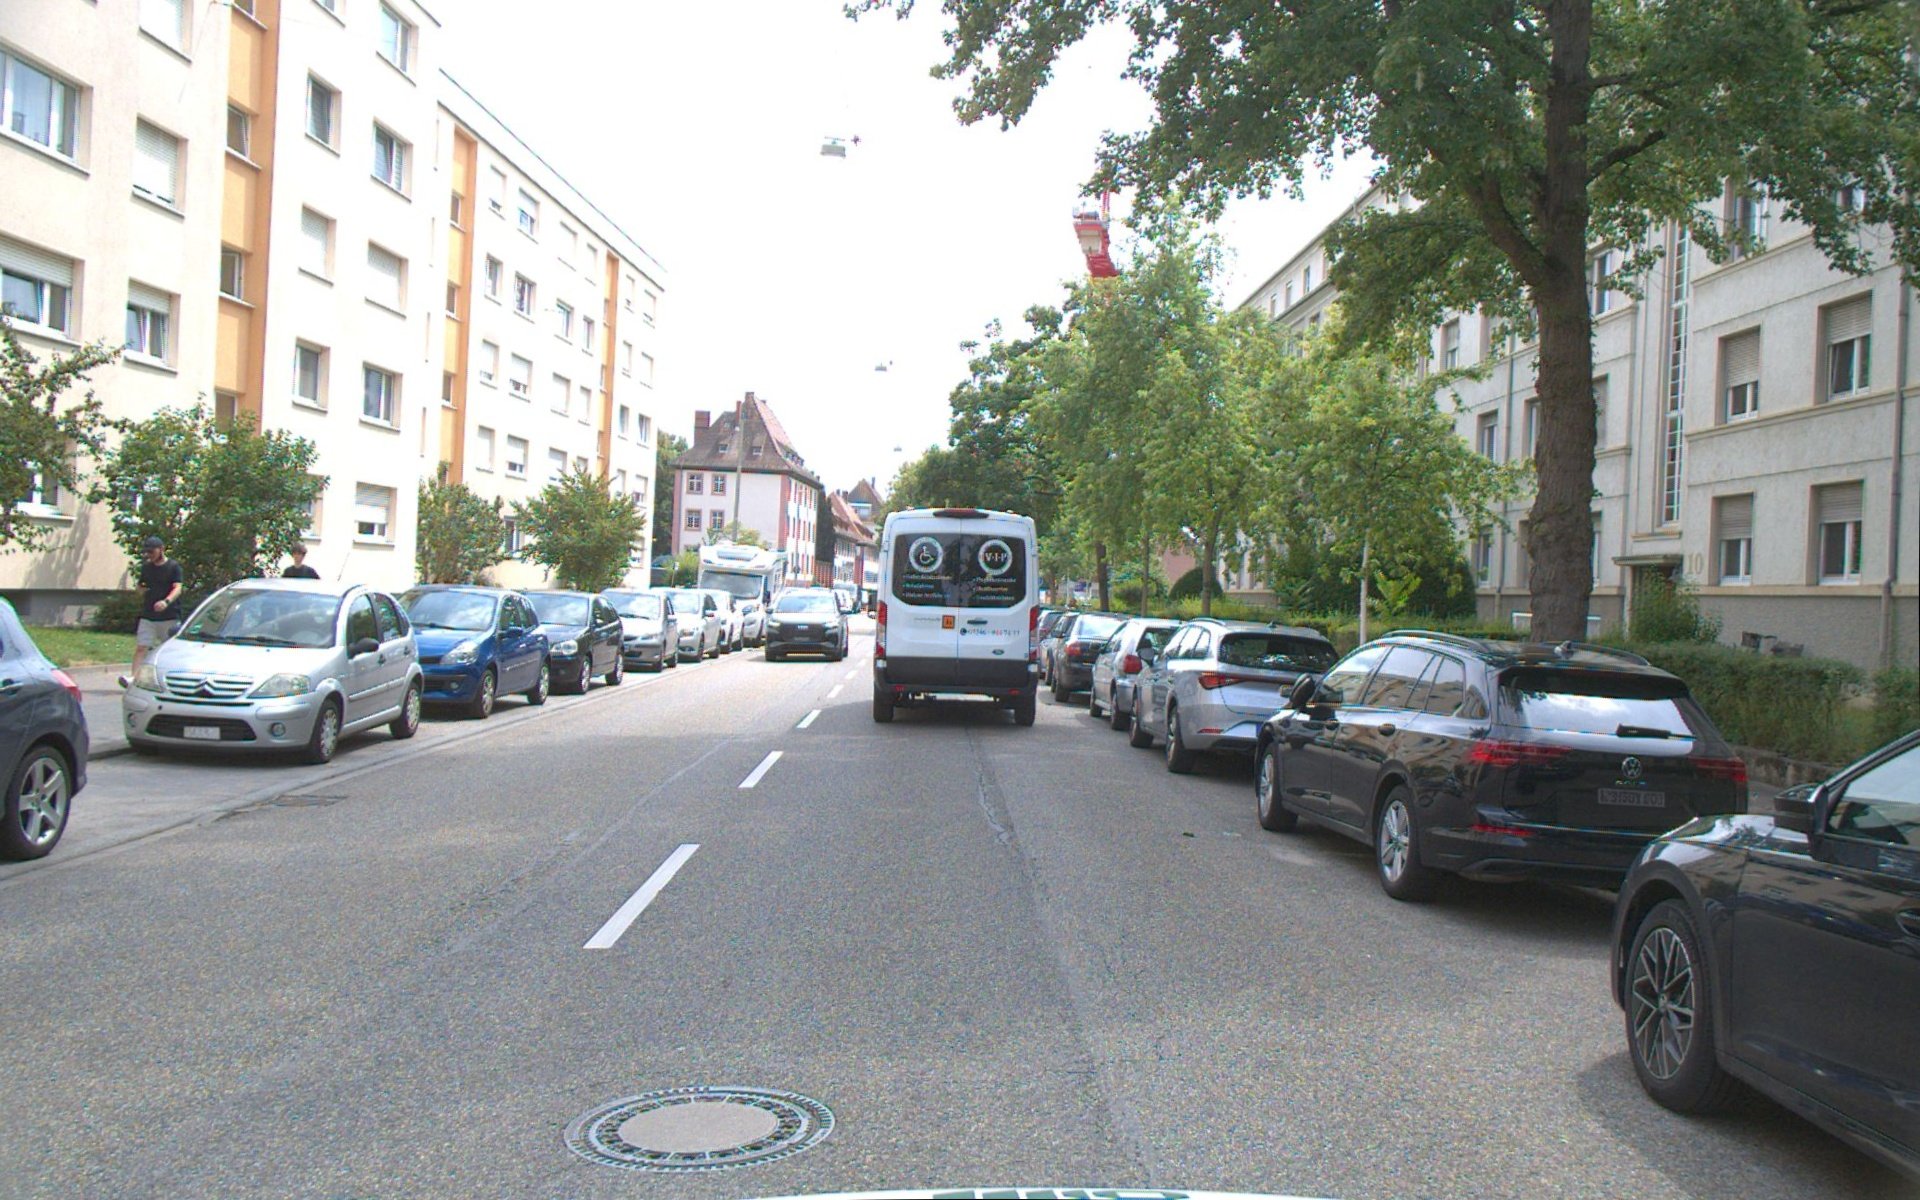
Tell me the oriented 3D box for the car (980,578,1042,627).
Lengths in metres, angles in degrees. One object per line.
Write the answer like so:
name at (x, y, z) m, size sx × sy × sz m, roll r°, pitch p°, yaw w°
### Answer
car at (1.952, 0.086, 65.001) m, size 1.889 × 1.690 × 5.321 m, roll 5°, pitch 0°, yaw -3°

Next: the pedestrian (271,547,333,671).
pedestrian at (-10.012, 0.136, 25.173) m, size 0.607 × 1.844 × 0.803 m, roll 1°, pitch 0°, yaw -4°

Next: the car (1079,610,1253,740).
car at (2.656, 0.927, 22.124) m, size 1.637 × 1.425 × 3.850 m, roll 5°, pitch 0°, yaw -2°

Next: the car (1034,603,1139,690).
car at (2.466, 0.882, 32.943) m, size 1.626 × 1.495 × 3.724 m, roll 2°, pitch 1°, yaw -2°

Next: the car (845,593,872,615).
car at (-7.541, 0.293, 123.186) m, size 1.749 × 1.507 × 3.860 m, roll 4°, pitch 0°, yaw 0°

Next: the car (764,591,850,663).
car at (-3.673, 0.622, 40.345) m, size 1.781 × 1.613 × 4.434 m, roll 1°, pitch 0°, yaw -2°

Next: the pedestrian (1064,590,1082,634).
pedestrian at (4.770, 0.502, 70.033) m, size 0.520 × 1.860 × 0.515 m, roll 2°, pitch 0°, yaw -45°

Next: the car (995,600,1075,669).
car at (1.962, 0.883, 44.443) m, size 1.626 × 1.610 × 4.283 m, roll 5°, pitch 0°, yaw -3°

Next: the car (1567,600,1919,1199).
car at (3.117, 0.807, 3.807) m, size 1.663 × 1.495 × 4.559 m, roll 4°, pitch 0°, yaw 0°

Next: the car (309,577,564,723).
car at (-6.284, 0.555, 20.335) m, size 1.781 × 1.509 × 3.885 m, roll 3°, pitch 0°, yaw 1°

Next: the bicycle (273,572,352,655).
bicycle at (-11.654, 0.220, 29.820) m, size 0.452 × 1.418 × 2.131 m, roll 2°, pitch 1°, yaw 3°

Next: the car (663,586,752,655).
car at (-6.468, 0.497, 42.816) m, size 1.655 × 1.607 × 4.592 m, roll 4°, pitch 0°, yaw -2°

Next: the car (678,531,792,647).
car at (-6.613, -0.315, 49.605) m, size 2.460 × 3.076 × 7.394 m, roll 3°, pitch 0°, yaw -2°

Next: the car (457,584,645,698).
car at (-6.225, 0.581, 25.626) m, size 1.781 × 1.509 × 4.116 m, roll 4°, pitch 0°, yaw 0°

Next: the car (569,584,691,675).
car at (-6.391, 0.527, 32.411) m, size 1.688 × 1.566 × 4.003 m, roll 2°, pitch 1°, yaw -2°

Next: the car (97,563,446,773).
car at (-6.138, 0.545, 15.243) m, size 1.636 × 1.589 × 3.850 m, roll 4°, pitch 0°, yaw -2°

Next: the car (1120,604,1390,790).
car at (2.807, 0.853, 16.802) m, size 1.663 × 1.495 × 4.716 m, roll 4°, pitch 0°, yaw -2°

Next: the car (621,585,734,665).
car at (-6.354, 0.531, 37.667) m, size 1.719 × 1.607 × 4.567 m, roll 4°, pitch 0°, yaw -1°

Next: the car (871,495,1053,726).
car at (-0.087, 0.132, 21.194) m, size 2.029 × 2.585 × 4.632 m, roll 1°, pitch 0°, yaw -3°

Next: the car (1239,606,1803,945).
car at (3.110, 0.861, 10.341) m, size 1.663 × 1.495 × 4.751 m, roll 4°, pitch 0°, yaw -3°

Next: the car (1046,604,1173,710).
car at (2.385, 0.867, 27.393) m, size 1.743 × 1.495 × 4.615 m, roll 4°, pitch 0°, yaw 2°

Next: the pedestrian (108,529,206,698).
pedestrian at (-9.125, 0.152, 18.824) m, size 0.607 × 1.844 × 0.899 m, roll 3°, pitch 0°, yaw -4°

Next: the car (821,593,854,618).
car at (-7.933, 0.336, 107.417) m, size 1.749 × 1.507 × 3.860 m, roll 4°, pitch 0°, yaw 0°

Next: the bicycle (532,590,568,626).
bicycle at (-12.153, 0.220, 49.090) m, size 0.443 × 0.997 × 2.445 m, roll 2°, pitch 1°, yaw -1°

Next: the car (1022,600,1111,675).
car at (2.382, 0.818, 37.908) m, size 1.626 × 1.495 × 3.889 m, roll 1°, pitch 2°, yaw -2°

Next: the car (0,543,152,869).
car at (-5.754, 0.482, 7.601) m, size 1.903 × 1.640 × 4.301 m, roll 4°, pitch 0°, yaw -1°
